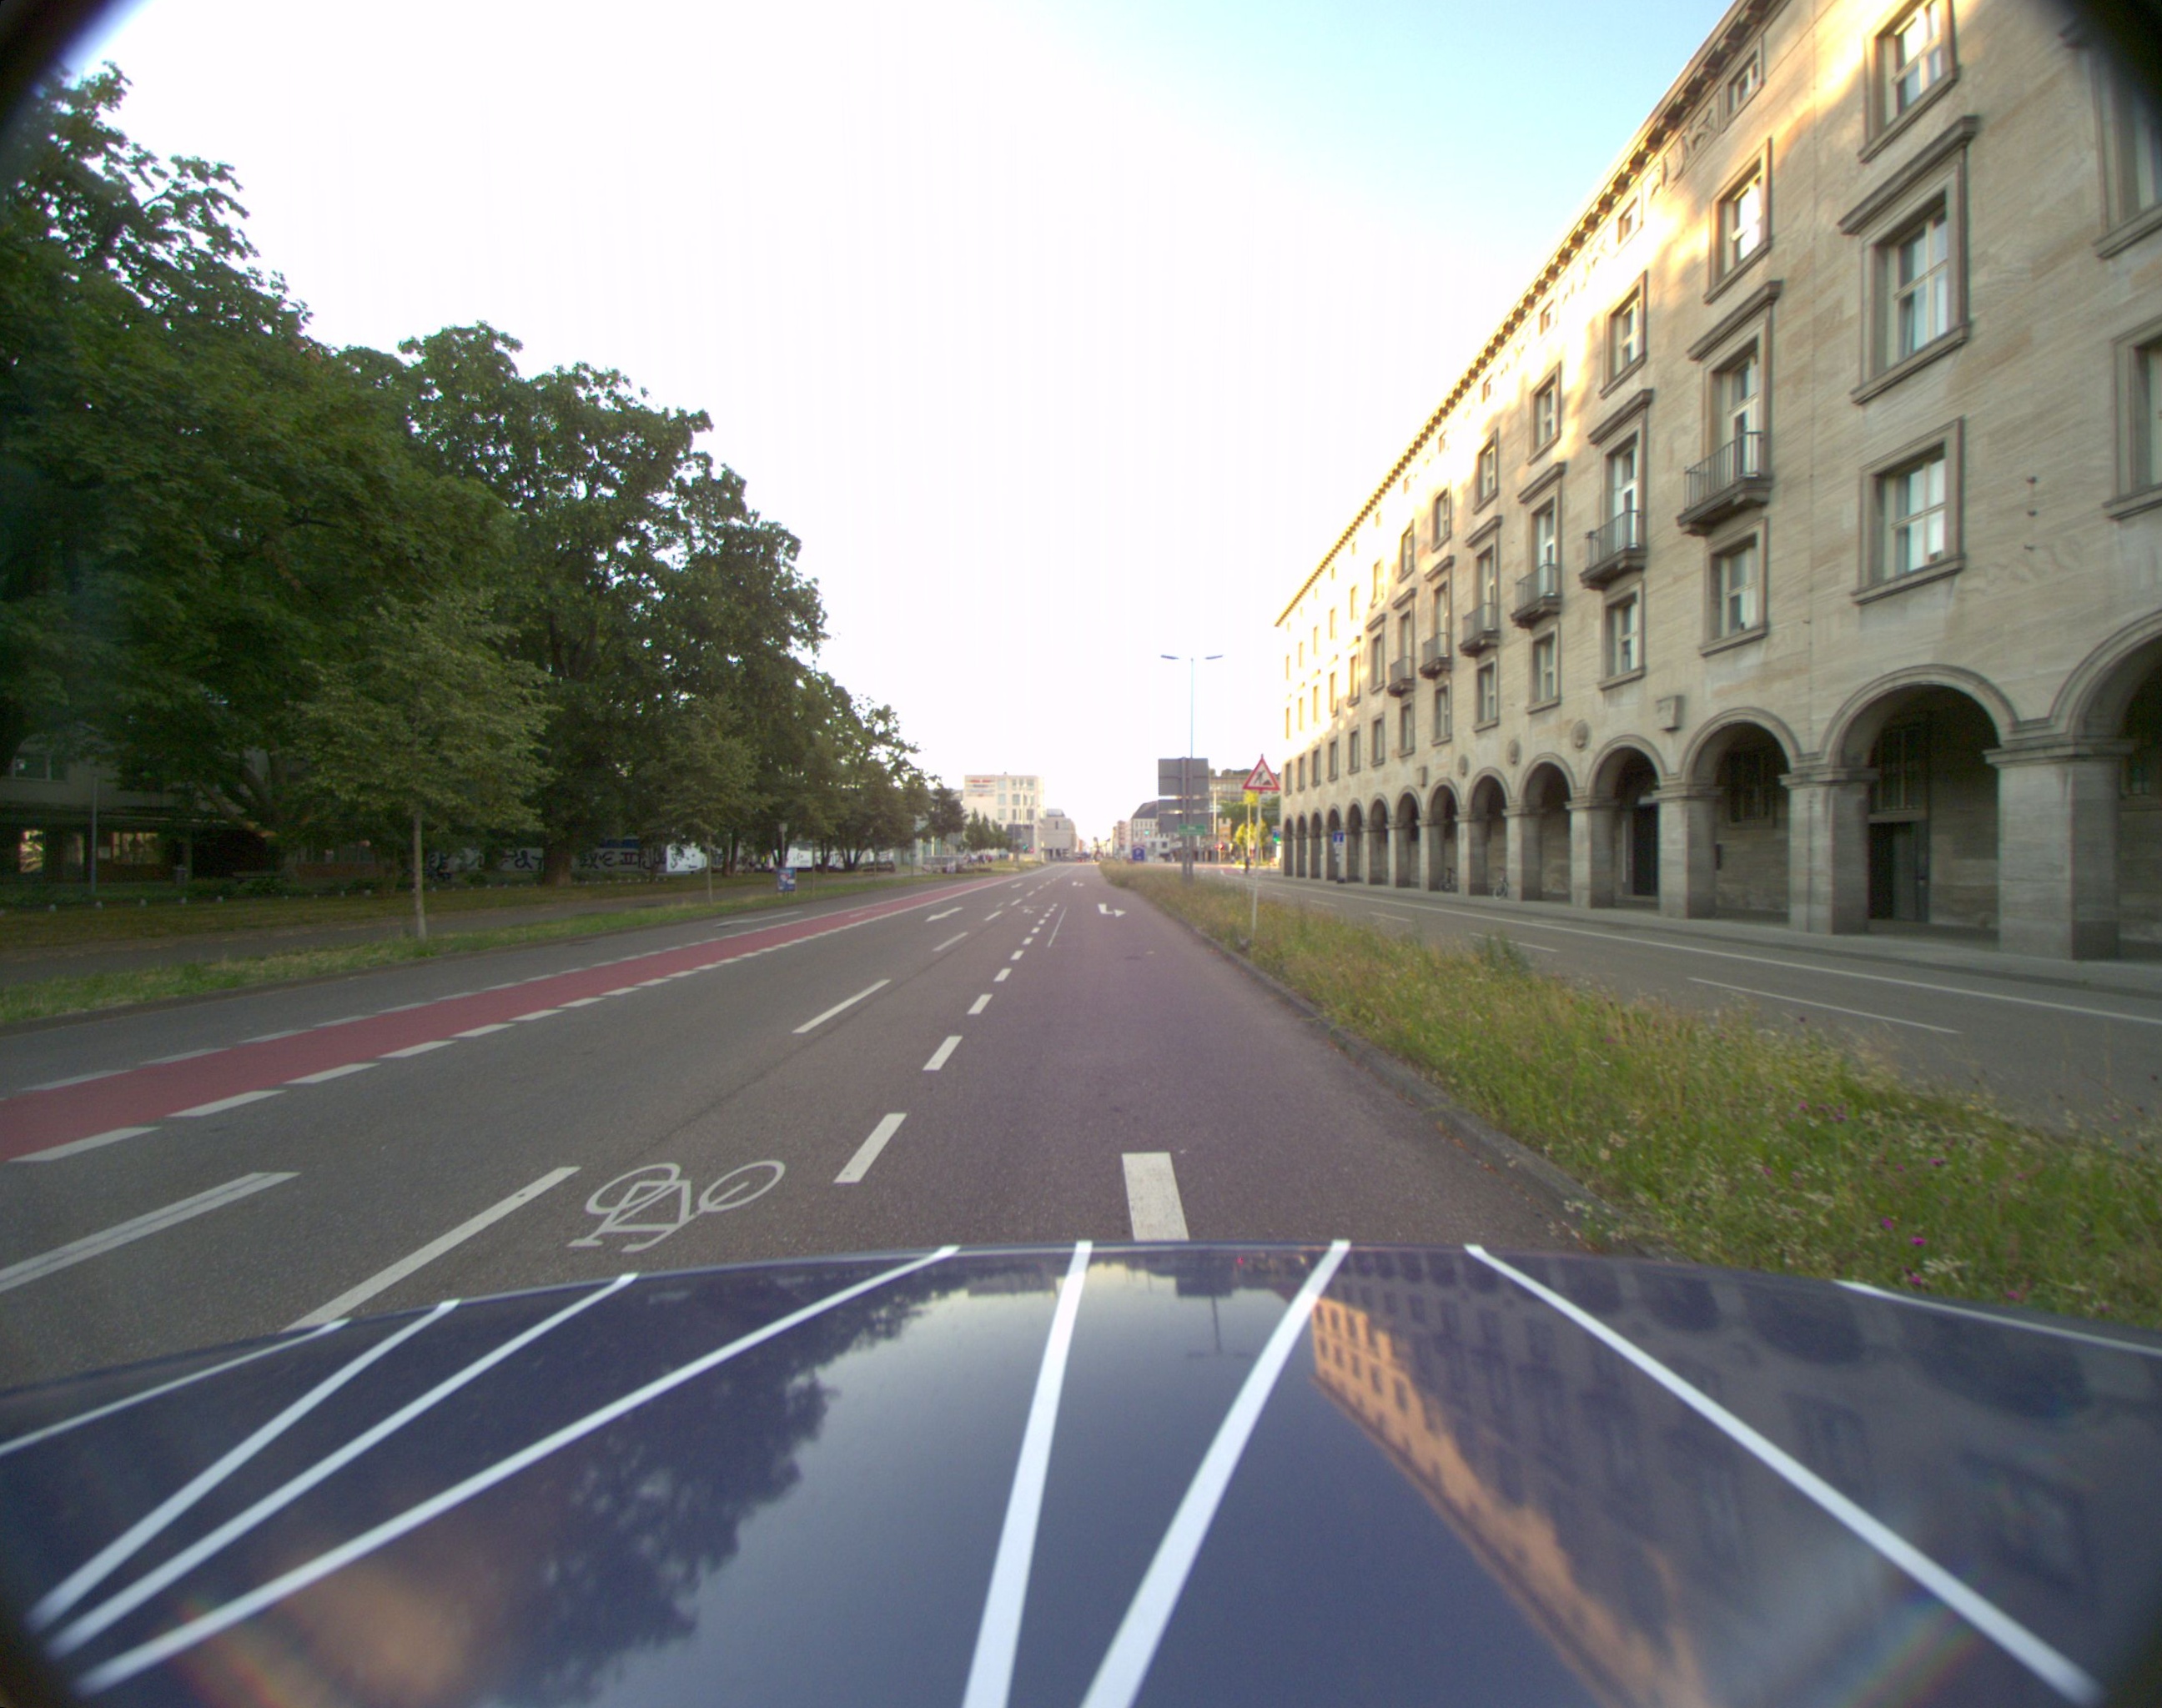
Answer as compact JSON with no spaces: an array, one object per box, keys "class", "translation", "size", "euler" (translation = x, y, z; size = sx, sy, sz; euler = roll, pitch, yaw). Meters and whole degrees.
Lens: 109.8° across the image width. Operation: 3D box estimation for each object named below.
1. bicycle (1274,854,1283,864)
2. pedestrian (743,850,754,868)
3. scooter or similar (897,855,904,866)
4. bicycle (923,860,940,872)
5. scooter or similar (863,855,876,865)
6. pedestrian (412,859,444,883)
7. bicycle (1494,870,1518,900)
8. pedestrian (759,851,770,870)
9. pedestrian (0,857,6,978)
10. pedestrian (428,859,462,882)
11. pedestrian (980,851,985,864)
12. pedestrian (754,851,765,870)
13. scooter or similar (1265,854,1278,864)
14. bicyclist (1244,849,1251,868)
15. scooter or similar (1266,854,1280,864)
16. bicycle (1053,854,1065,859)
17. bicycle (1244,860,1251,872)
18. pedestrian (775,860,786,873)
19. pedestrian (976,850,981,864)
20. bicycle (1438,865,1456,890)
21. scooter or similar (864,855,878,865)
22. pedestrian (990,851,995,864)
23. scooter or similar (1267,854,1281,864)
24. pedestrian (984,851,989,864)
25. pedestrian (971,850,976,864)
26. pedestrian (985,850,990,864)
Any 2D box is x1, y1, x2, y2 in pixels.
[{"class":"bicycle","translation":[26.561,0.636,102.221],"size":[0.619,1.316,2.509],"euler":[0,0,-1]},{"class":"pedestrian","translation":[-32.969,0.484,75.355],"size":[0.768,1.845,0.601],"euler":[0,1,16]},{"class":"scooter or similar","translation":[-20.011,0.728,84.251],"size":[0.424,1.213,1.399],"euler":[2,0,2]},{"class":"bicycle","translation":[-12.706,1.014,64.580],"size":[0.494,1.000,1.901],"euler":[3,1,21]},{"class":"scooter or similar","translation":[-26.795,0.779,96.315],"size":[1.573,1.213,0.474],"euler":[-2,1,-1]},{"class":"pedestrian","translation":[-35.042,0.901,40.787],"size":[1.134,1.253,0.726],"euler":[0,1,3]},{"class":"bicycle","translation":[15.357,1.089,27.428],"size":[0.477,0.999,2.009],"euler":[0,0,37]},{"class":"pedestrian","translation":[-31.063,0.636,74.610],"size":[0.768,1.908,0.601],"euler":[0,1,16]},{"class":"pedestrian","translation":[-15.330,0.885,10.192],"size":[0.697,1.683,0.748],"euler":[0,1,-5]},{"class":"pedestrian","translation":[-34.927,0.909,41.735],"size":[1.134,1.253,0.905],"euler":[0,1,3]},{"class":"pedestrian","translation":[-14.435,0.456,111.805],"size":[0.644,1.922,0.619],"euler":[0,1,3]},{"class":"pedestrian","translation":[-32.131,0.642,75.943],"size":[0.768,1.810,0.601],"euler":[0,1,16]},{"class":"scooter or similar","translation":[26.361,0.674,105.150],"size":[1.793,1.297,0.417],"euler":[0,1,-5]},{"class":"bicyclist","translation":[14.721,0.380,67.215],"size":[0.537,1.683,0.749],"euler":[0,1,14]},{"class":"scooter or similar","translation":[26.386,0.669,104.666],"size":[1.836,1.297,0.423],"euler":[0,1,-5]},{"class":"bicycle","translation":[-5.489,0.709,189.214],"size":[2.804,1.209,0.765],"euler":[0,1,10]},{"class":"bicycle","translation":[14.681,1.034,67.077],"size":[0.542,0.999,2.007],"euler":[0,0,14]},{"class":"pedestrian","translation":[-20.625,0.827,52.121],"size":[0.682,0.879,0.592],"euler":[0,1,-24]},{"class":"pedestrian","translation":[-14.333,0.403,106.012],"size":[0.644,1.922,0.619],"euler":[0,1,3]},{"class":"bicycle","translation":[15.640,1.002,32.462],"size":[0.477,0.999,2.008],"euler":[0,0,20]},{"class":"scooter or similar","translation":[-26.853,0.763,97.132],"size":[1.573,1.213,0.474],"euler":[-2,1,-1]},{"class":"pedestrian","translation":[-13.007,0.451,112.275],"size":[0.644,1.922,0.619],"euler":[0,1,3]},{"class":"scooter or similar","translation":[26.417,0.665,104.224],"size":[1.841,1.297,0.423],"euler":[0,1,-5]},{"class":"pedestrian","translation":[-13.952,0.461,112.656],"size":[0.644,1.922,0.619],"euler":[0,1,3]},{"class":"pedestrian","translation":[-15.013,0.409,106.118],"size":[0.644,1.922,0.619],"euler":[0,1,3]},{"class":"pedestrian","translation":[-13.651,0.445,111.140],"size":[0.644,1.922,0.619],"euler":[0,1,3]}]
